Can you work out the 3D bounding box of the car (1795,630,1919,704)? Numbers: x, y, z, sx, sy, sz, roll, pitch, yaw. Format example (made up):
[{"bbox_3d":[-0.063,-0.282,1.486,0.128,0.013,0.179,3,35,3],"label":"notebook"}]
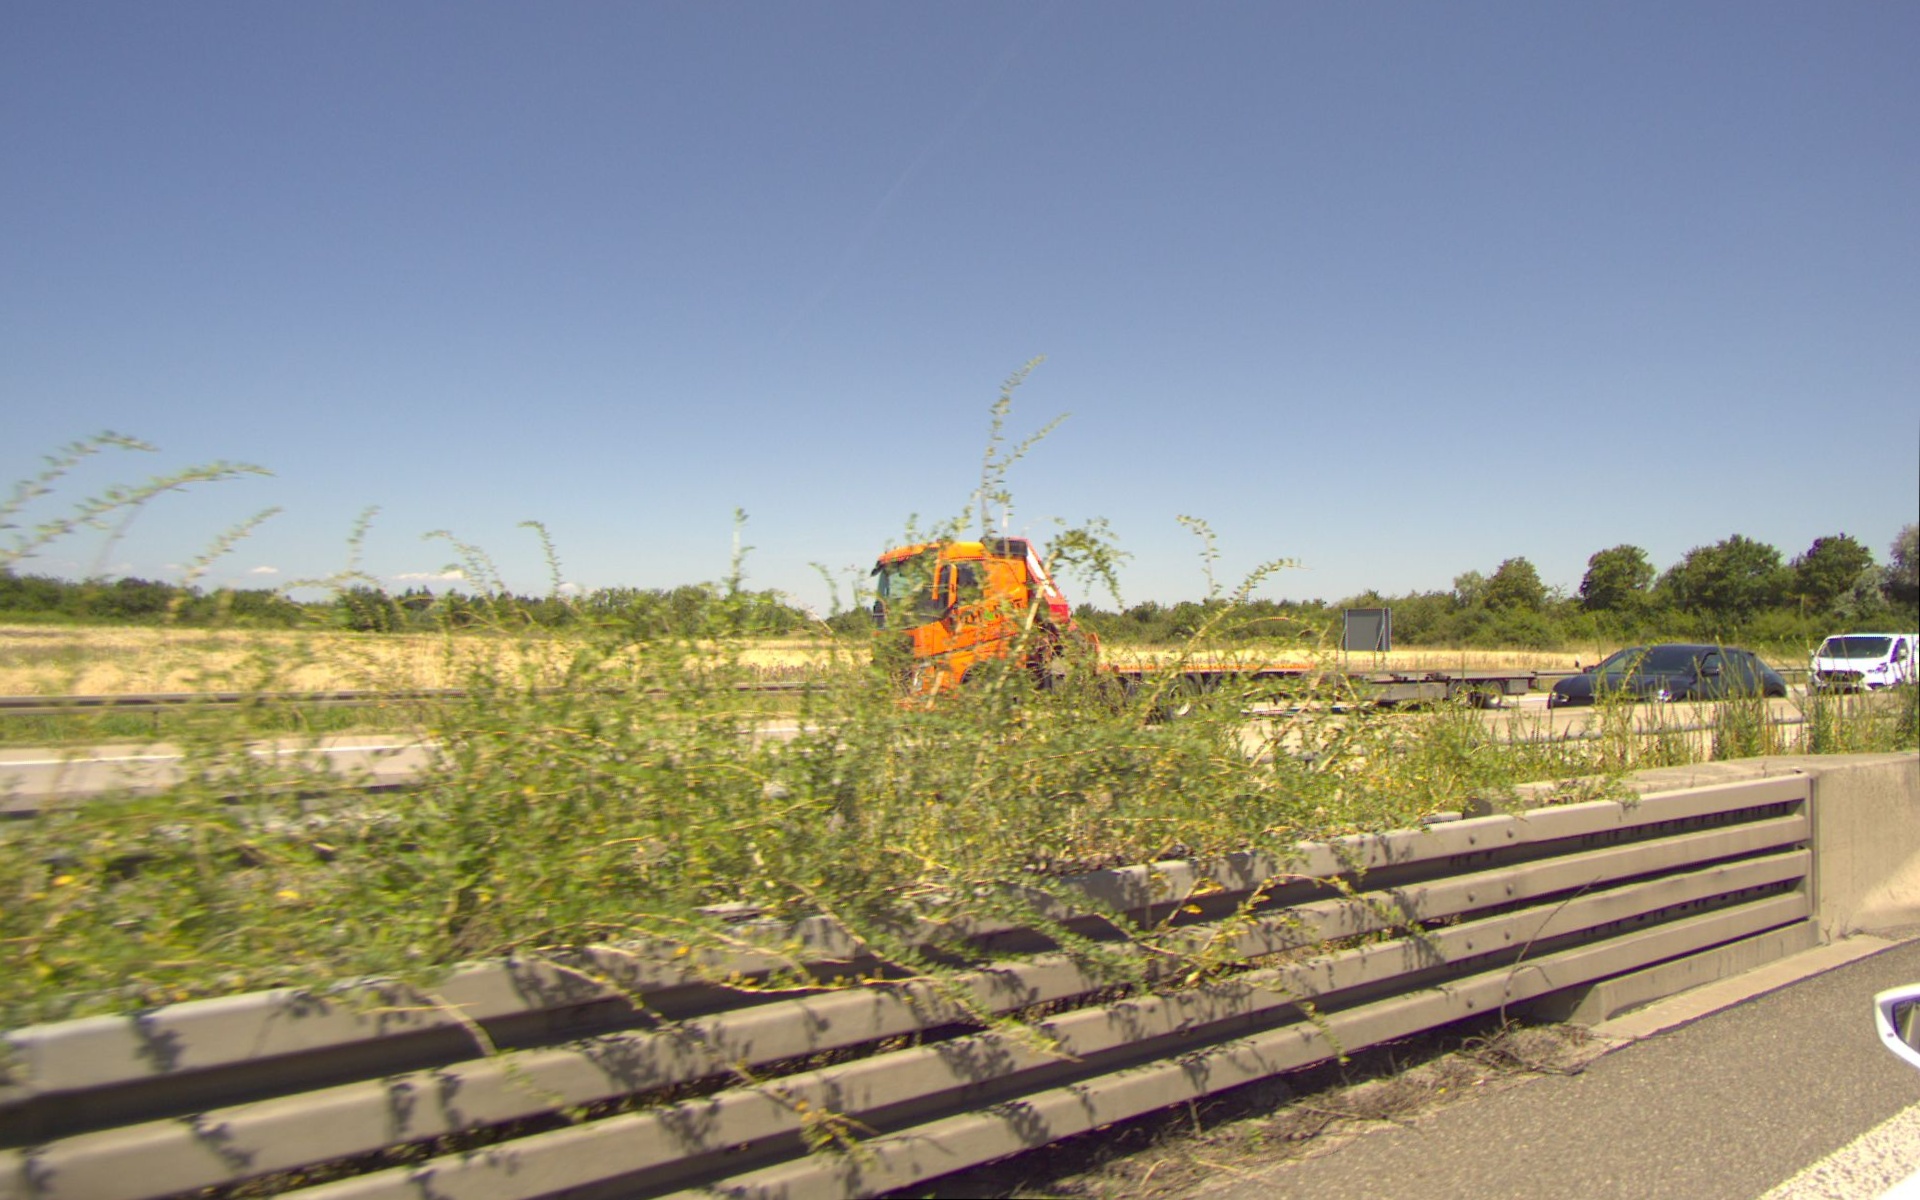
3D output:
[{"bbox_3d":[26.493,1.927,29.213,4.684,2.013,1.873,2,-4,-31],"label":"car"}]

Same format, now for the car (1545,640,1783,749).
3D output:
[{"bbox_3d":[11.535,1.459,16.435,3.773,1.600,1.759,2,-3,-30],"label":"car"}]

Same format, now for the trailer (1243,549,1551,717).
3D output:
[{"bbox_3d":[11.204,0.889,25.444,8.435,3.709,2.641,2,-3,-30],"label":"trailer"}]

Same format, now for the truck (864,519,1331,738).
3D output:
[{"bbox_3d":[3.138,0.661,20.719,10.068,3.709,2.640,2,-3,-30],"label":"truck"}]
